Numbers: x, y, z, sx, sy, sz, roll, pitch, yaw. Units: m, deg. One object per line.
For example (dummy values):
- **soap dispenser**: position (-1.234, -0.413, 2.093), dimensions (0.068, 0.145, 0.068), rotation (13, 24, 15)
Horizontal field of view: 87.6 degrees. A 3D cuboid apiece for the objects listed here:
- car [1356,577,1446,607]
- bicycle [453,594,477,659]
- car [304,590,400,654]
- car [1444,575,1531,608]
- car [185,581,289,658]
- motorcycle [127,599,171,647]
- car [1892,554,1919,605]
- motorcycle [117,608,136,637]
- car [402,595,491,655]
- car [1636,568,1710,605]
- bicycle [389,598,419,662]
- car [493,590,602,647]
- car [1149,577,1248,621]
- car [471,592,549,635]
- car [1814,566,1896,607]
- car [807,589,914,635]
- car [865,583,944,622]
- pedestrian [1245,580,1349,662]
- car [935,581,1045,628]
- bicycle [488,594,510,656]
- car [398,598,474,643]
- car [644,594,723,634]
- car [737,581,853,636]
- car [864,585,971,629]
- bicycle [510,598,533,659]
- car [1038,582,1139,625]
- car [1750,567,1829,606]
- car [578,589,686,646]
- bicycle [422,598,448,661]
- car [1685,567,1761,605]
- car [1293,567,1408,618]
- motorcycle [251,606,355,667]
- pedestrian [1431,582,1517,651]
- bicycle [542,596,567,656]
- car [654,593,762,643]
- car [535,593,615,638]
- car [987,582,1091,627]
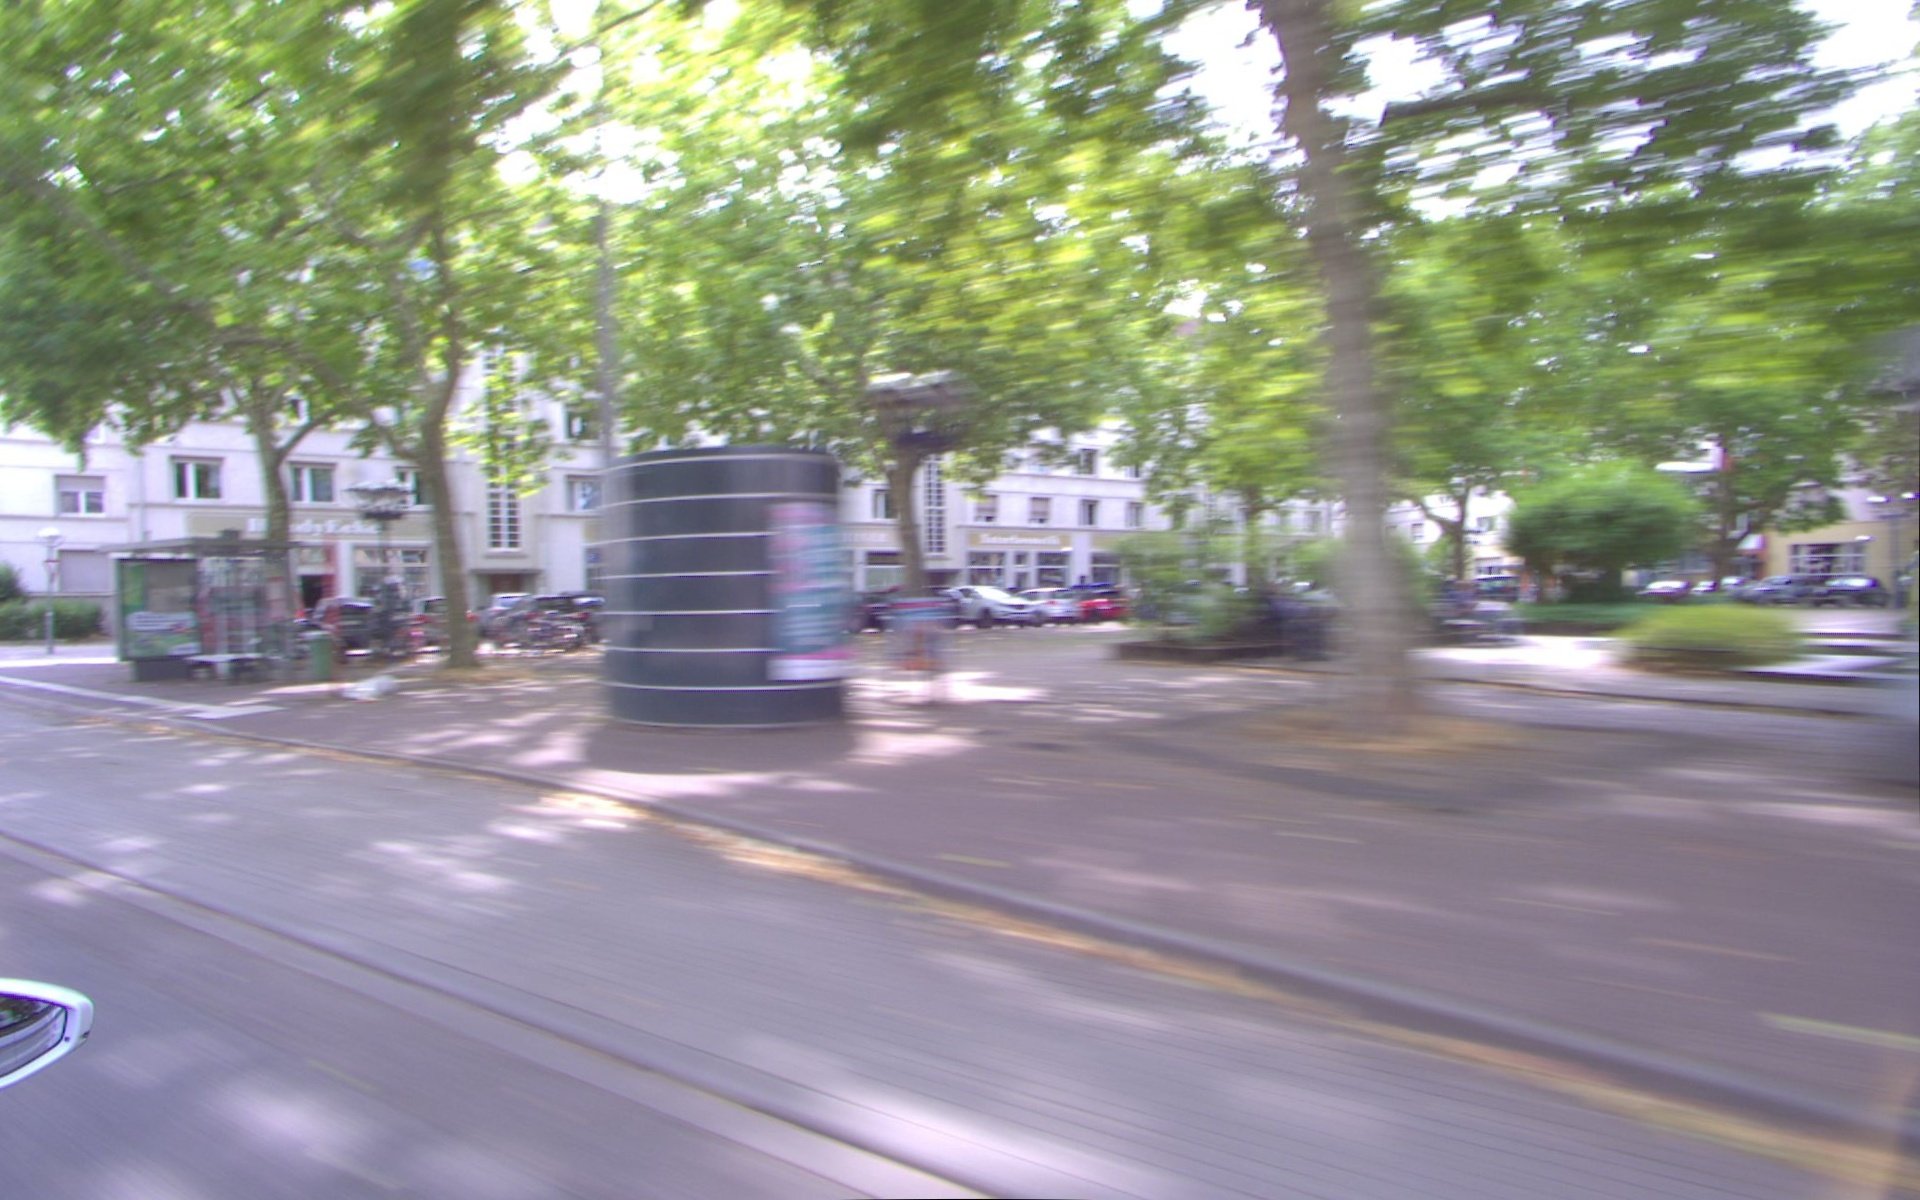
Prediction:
- **car**: position (23.032, -0.439, 52.412), dimensions (1.967, 1.503, 4.086), rotation (-1, 1, -23)
- **bicycle**: position (-11.633, 0.588, 23.551), dimensions (0.413, 1.397, 2.301), rotation (-1, 2, -25)
- **car**: position (-16.495, 0.541, 27.071), dimensions (1.810, 1.573, 3.970), rotation (-2, 1, -37)
- **car**: position (30.072, -0.507, 57.150), dimensions (1.979, 1.818, 3.963), rotation (-1, 1, -42)
- **car**: position (-18.090, 0.434, 25.004), dimensions (1.915, 1.729, 4.297), rotation (-2, 1, -37)
- **motorcycle**: position (-26.273, 0.718, 32.437), dimensions (2.281, 1.482, 0.827), rotation (2, 3, 44)
- **car**: position (42.500, -0.901, 43.750), dimensions (3.979, 2.136, 1.984), rotation (-1, 1, -38)
- **motorcycle**: position (-31.386, 0.839, 37.732), dimensions (0.428, 1.030, 1.438), rotation (-2, 2, -36)
- **car**: position (-14.150, 0.620, 27.470), dimensions (1.727, 1.484, 4.158), rotation (-2, 1, -33)
- **car**: position (37.403, -0.720, 52.491), dimensions (3.949, 1.840, 1.986), rotation (-1, 1, -35)
- **bicycle**: position (-12.835, 0.660, 23.144), dimensions (0.413, 1.396, 2.302), rotation (-1, 1, -25)
- **car**: position (-11.956, 0.488, 28.885), dimensions (1.975, 1.484, 3.970), rotation (-2, 1, -37)
- **car**: position (10.453, -0.036, 44.122), dimensions (1.894, 1.840, 3.969), rotation (-2, 1, -38)
- **car**: position (-17.071, 0.479, 37.862), dimensions (1.974, 1.507, 4.166), rotation (-1, 1, -34)
- **car**: position (41.193, -0.622, 46.093), dimensions (3.949, 1.840, 1.986), rotation (-1, 1, -35)
- **car**: position (-3.568, 0.389, 35.224), dimensions (1.975, 1.484, 3.970), rotation (-2, 1, -37)
- **car**: position (-2.716, 0.097, 47.926), dimensions (1.974, 1.751, 3.972), rotation (-1, 1, -35)
- **pedestrian**: position (5.315, 0.314, 15.806), dimensions (1.084, 1.229, 1.134), rotation (-2, 1, -32)
- **car**: position (1.057, 0.151, 37.607), dimensions (1.975, 1.640, 4.173), rotation (-2, 1, -37)
- **bicycle**: position (-11.062, 0.569, 24.004), dimensions (0.413, 1.397, 2.301), rotation (-1, 2, -25)
- **car**: position (-19.272, 0.712, 36.740), dimensions (1.974, 1.524, 4.166), rotation (-1, 1, -34)
- **car**: position (-12.050, 0.574, 43.421), dimensions (1.975, 1.612, 4.165), rotation (-1, 1, -36)
- **car**: position (-5.634, 0.259, 33.770), dimensions (1.975, 1.718, 4.526), rotation (-2, 1, -37)
- **car**: position (-1.604, 0.239, 36.458), dimensions (1.975, 1.484, 3.970), rotation (-2, 1, -37)
- **bicycle**: position (-10.559, 0.647, 24.085), dimensions (0.413, 1.396, 2.302), rotation (-1, 1, -25)
- **car**: position (5.266, 0.127, 41.468), dimensions (1.975, 1.662, 3.971), rotation (-1, 1, -36)
- **car**: position (40.007, -0.658, 48.264), dimensions (3.949, 1.840, 1.986), rotation (-1, 1, -35)
- **car**: position (-10.162, 0.504, 30.842), dimensions (1.975, 1.620, 3.970), rotation (-2, 1, -37)
- **bicycle**: position (-12.289, 0.655, 23.461), dimensions (0.413, 1.396, 2.302), rotation (-1, 1, -25)
- **car**: position (38.584, -0.694, 50.627), dimensions (3.949, 1.840, 1.986), rotation (-1, 1, -35)
- **car**: position (14.873, -0.304, 38.088), dimensions (4.274, 1.840, 1.987), rotation (-1, 1, -33)
- **motorcycle**: position (-14.241, 0.767, 21.760), dimensions (0.523, 1.239, 1.851), rotation (1, 2, 29)
- **pedestrian**: position (9.389, 0.280, 18.320), dimensions (0.877, 1.216, 1.116), rotation (-1, 2, -36)
- **bicycle**: position (-9.961, 0.604, 24.573), dimensions (0.413, 1.396, 2.302), rotation (-1, 1, -25)
- **car**: position (-8.152, 0.535, 32.193), dimensions (1.975, 1.484, 3.970), rotation (-2, 1, -37)
- **car**: position (-15.018, 0.559, 38.925), dimensions (1.974, 1.612, 4.166), rotation (-1, 1, -34)
- **car**: position (3.029, 0.144, 39.202), dimensions (1.975, 1.662, 3.971), rotation (-1, 1, -36)
